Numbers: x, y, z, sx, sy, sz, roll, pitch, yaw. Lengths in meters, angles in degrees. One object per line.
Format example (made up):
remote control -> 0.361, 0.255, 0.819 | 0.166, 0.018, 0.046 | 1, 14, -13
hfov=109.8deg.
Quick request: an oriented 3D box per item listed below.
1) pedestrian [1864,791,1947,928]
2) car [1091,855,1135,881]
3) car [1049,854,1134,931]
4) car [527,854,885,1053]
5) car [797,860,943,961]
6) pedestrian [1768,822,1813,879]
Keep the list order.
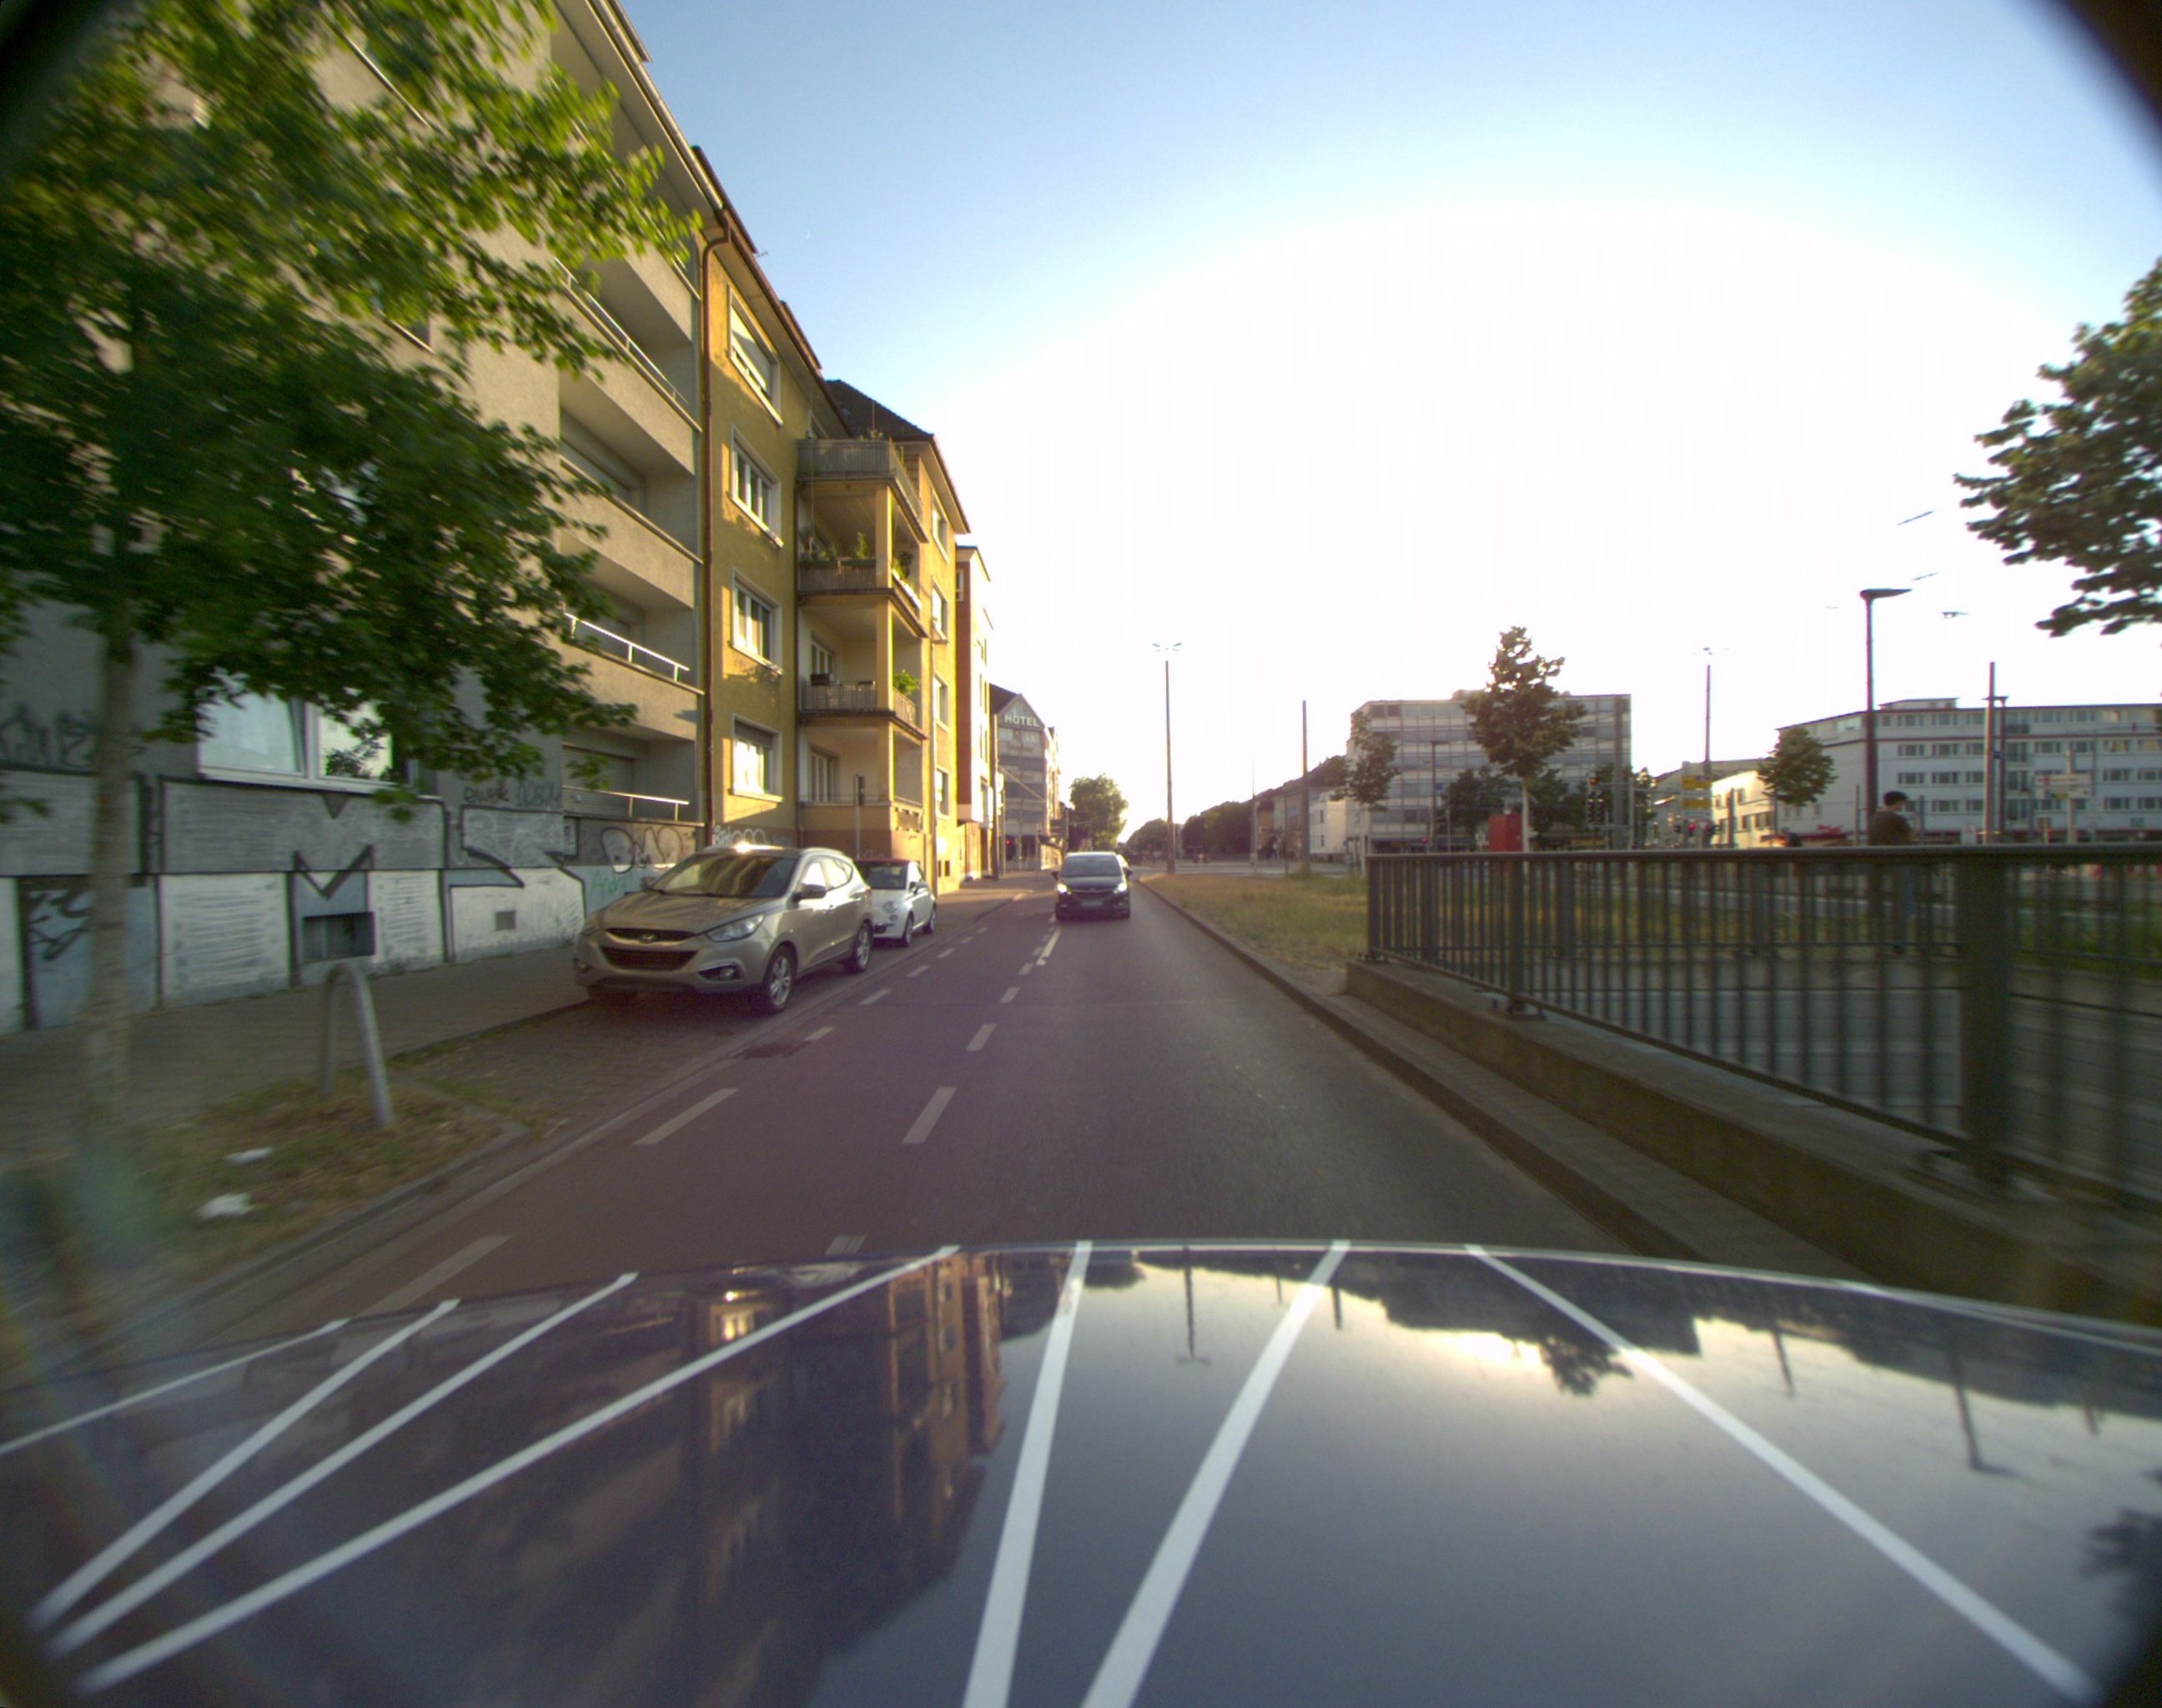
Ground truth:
pedestrian -> 11.079, 0.071, 10.222 | 0.472, 1.776, 0.626 | -1, 1, 8
car -> 1.857, 0.757, 42.893 | 1.849, 1.399, 4.228 | 0, 0, 10
car -> 0.278, 0.836, 18.584 | 1.800, 1.609, 4.387 | -1, 0, 1
car -> -3.794, 0.847, 8.758 | 1.761, 1.644, 4.528 | 2, 0, 1
car -> -3.725, 0.933, 14.066 | 1.673, 1.509, 3.601 | 3, 0, -1
pedestrian -> 22.886, -0.104, 24.519 | 0.695, 1.788, 0.817 | -1, 1, 3
